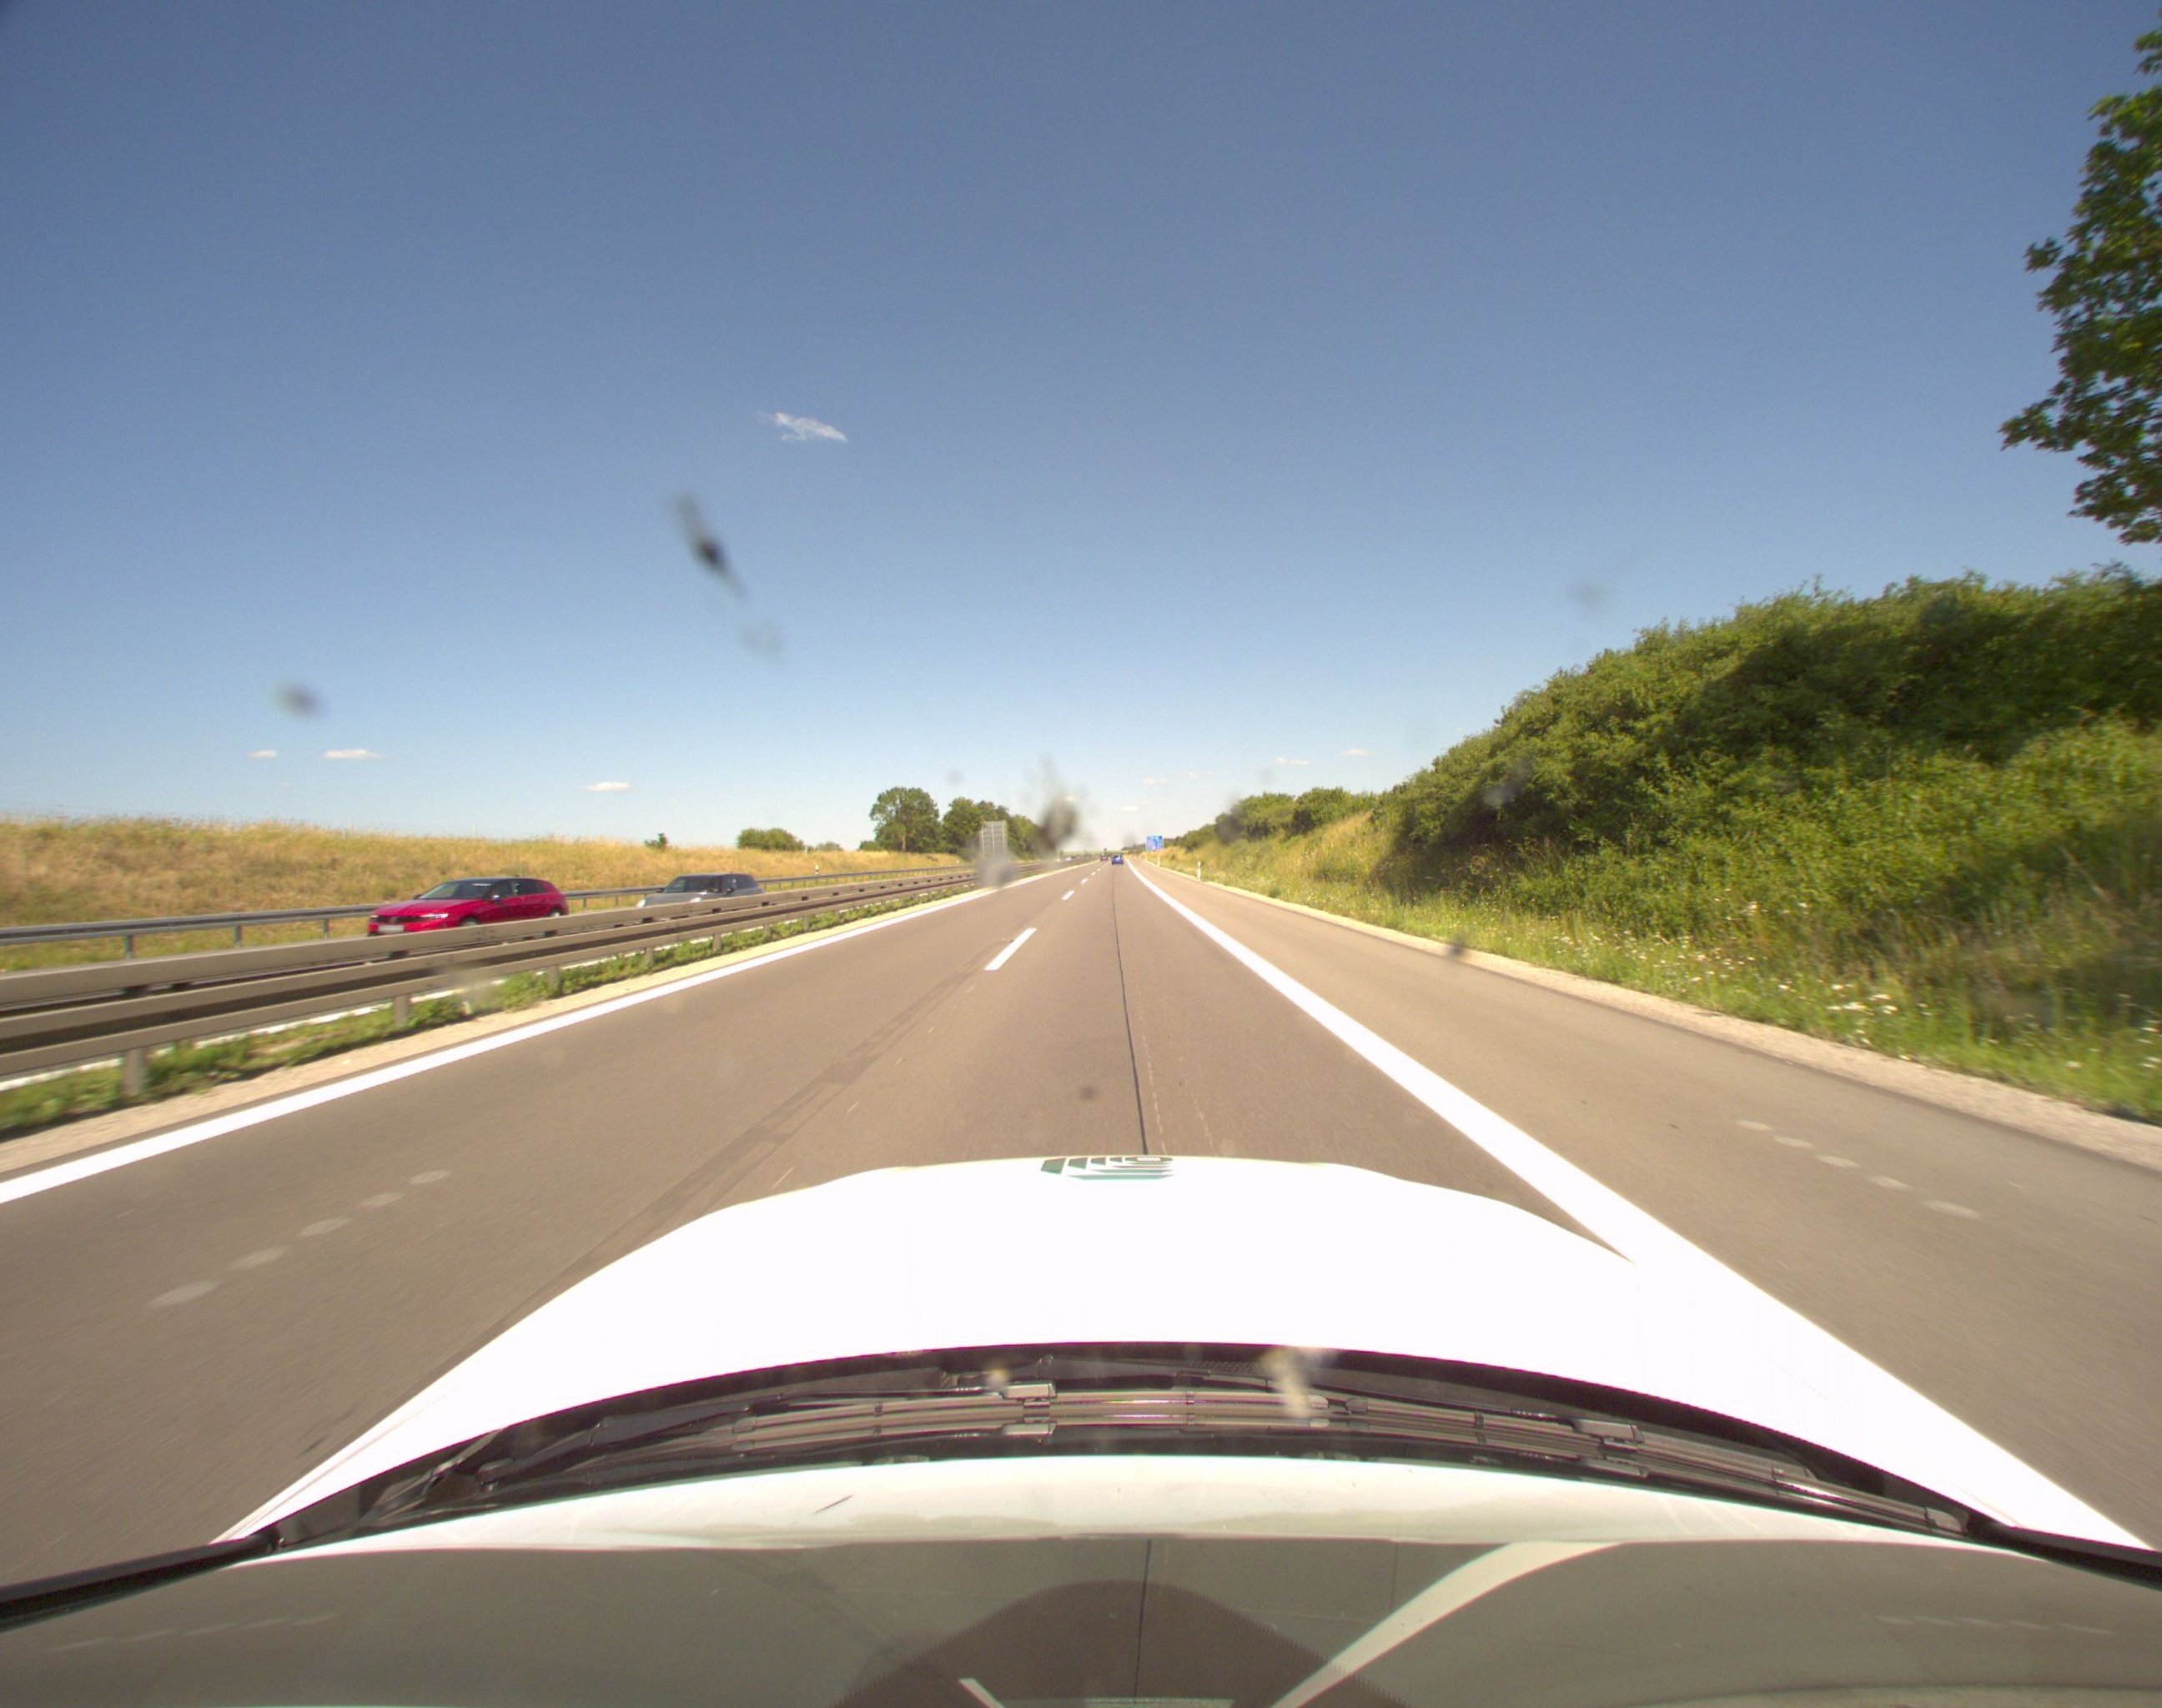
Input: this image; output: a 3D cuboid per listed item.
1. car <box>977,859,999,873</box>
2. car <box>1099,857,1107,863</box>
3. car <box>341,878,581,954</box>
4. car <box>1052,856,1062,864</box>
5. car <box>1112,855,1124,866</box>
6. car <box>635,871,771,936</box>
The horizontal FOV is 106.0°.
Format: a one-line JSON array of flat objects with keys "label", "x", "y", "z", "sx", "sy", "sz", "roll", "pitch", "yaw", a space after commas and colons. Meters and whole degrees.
[{"label": "car", "x": -10.813, "y": 1.360, "z": 95.220, "sx": 1.718, "sy": 1.467, "sz": 5.245, "roll": -2, "pitch": 0, "yaw": 3}, {"label": "car", "x": 5.601, "y": 1.525, "z": 206.529, "sx": 1.821, "sy": 1.453, "sz": 3.595, "roll": -4, "pitch": -1, "yaw": 3}, {"label": "car", "x": -13.872, "y": 1.314, "z": 18.658, "sx": 1.898, "sy": 1.359, "sz": 4.555, "roll": -1, "pitch": 0, "yaw": 2}, {"label": "car", "x": -5.772, "y": 1.321, "z": 195.329, "sx": 1.937, "sy": 1.845, "sz": 5.188, "roll": -2, "pitch": 0, "yaw": 3}, {"label": "car", "x": 5.455, "y": 1.010, "z": 120.352, "sx": 1.668, "sy": 1.453, "sz": 3.596, "roll": -4, "pitch": -1, "yaw": 4}, {"label": "car", "x": -9.669, "y": 1.212, "z": 21.191, "sx": 1.579, "sy": 1.431, "sz": 3.928, "roll": -1, "pitch": 0, "yaw": 2}]
